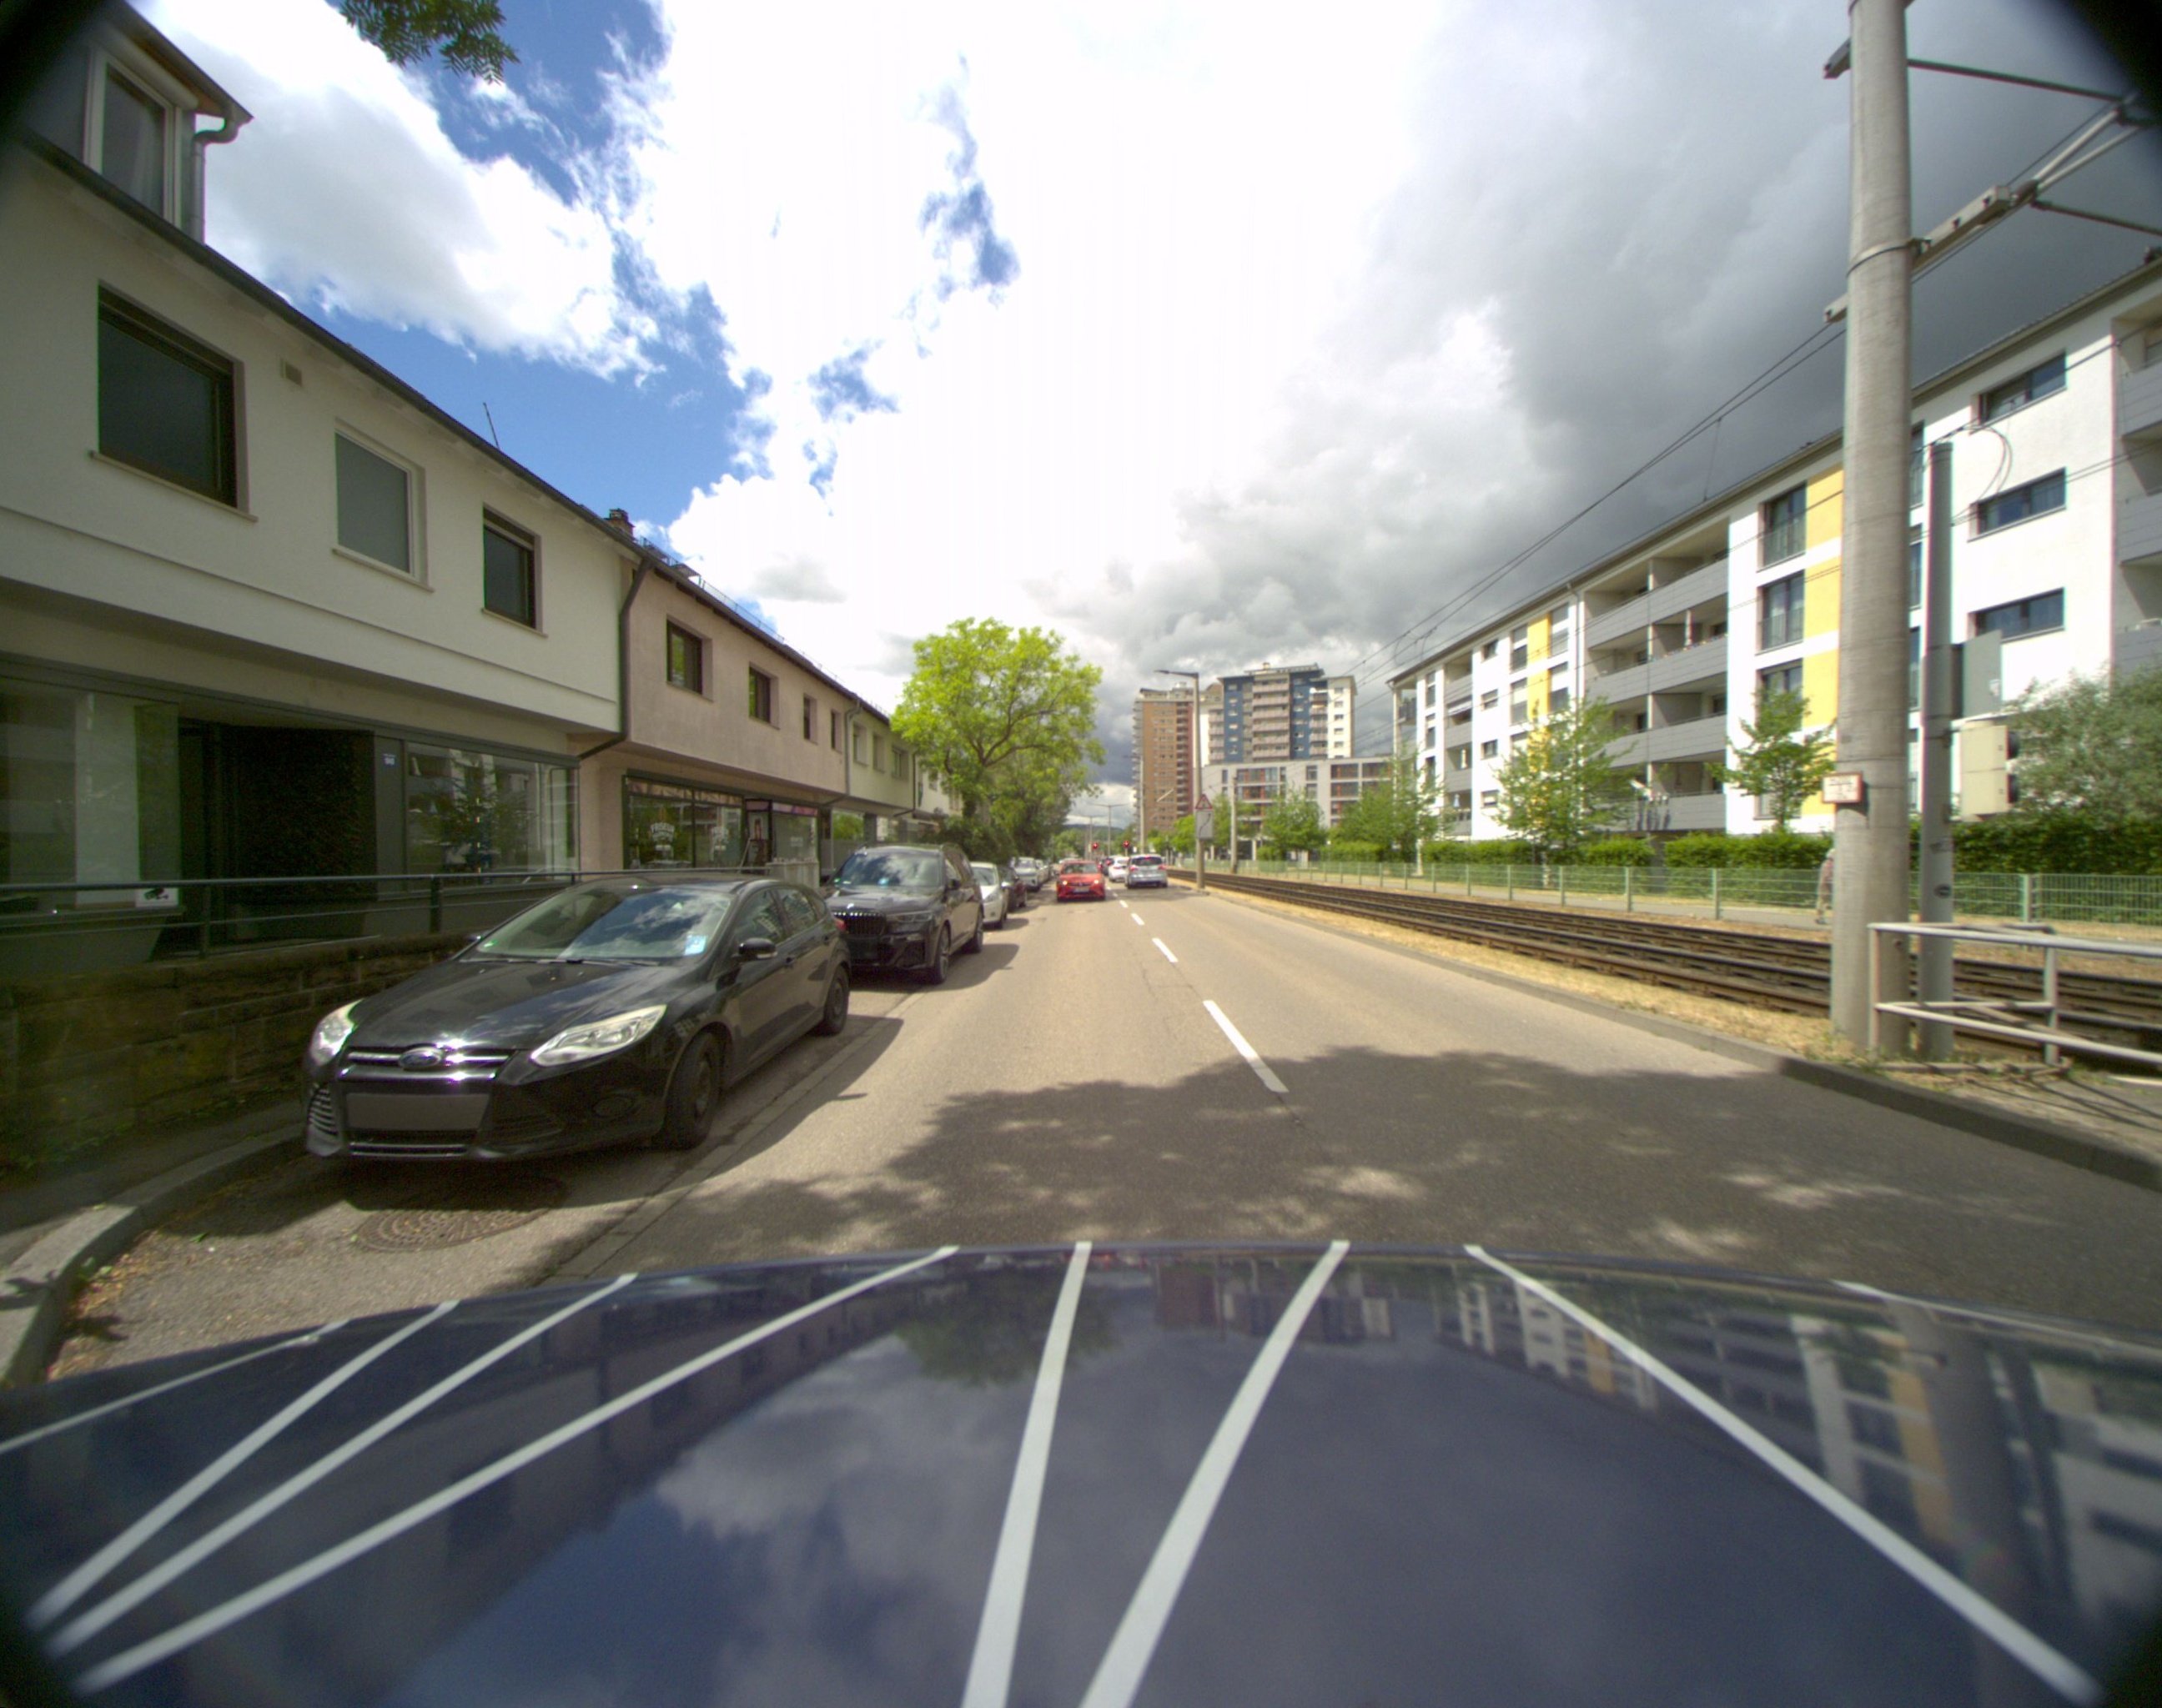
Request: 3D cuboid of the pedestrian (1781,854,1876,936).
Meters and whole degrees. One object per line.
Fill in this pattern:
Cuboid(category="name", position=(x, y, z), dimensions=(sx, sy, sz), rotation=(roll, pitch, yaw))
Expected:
Cuboid(category="pedestrian", position=(13.982, 0.747, 14.243), dimensions=(0.798, 1.474, 0.995), rotation=(-1, 1, -1))

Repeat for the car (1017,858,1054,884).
Cuboid(category="car", position=(-2.767, 0.999, 47.370), dimensions=(1.818, 1.490, 4.911), rotation=(-1, 0, 2))

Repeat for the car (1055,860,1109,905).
Cuboid(category="car", position=(0.063, 0.983, 27.889), dimensions=(1.792, 1.387, 4.241), rotation=(-2, 0, 1))

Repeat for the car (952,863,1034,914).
Cuboid(category="car", position=(-2.598, 0.994, 23.390), dimensions=(1.775, 1.341, 4.001), rotation=(2, 0, 4))

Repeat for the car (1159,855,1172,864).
Cuboid(category="car", position=(15.800, 0.978, 142.378), dimensions=(1.781, 1.530, 3.803), rotation=(-1, 0, -1))

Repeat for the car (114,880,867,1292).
Cuboid(category="car", position=(-2.969, 1.008, 5.185), dimensions=(1.839, 1.497, 4.242), rotation=(0, 0, -1))

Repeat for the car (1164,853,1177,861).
Cuboid(category="car", position=(15.935, 0.536, 135.930), dimensions=(1.781, 1.530, 3.803), rotation=(-1, 0, -1))

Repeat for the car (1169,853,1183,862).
Cuboid(category="car", position=(16.146, 0.620, 129.820), dimensions=(1.893, 1.530, 3.803), rotation=(-1, 0, 0))

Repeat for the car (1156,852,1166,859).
Cuboid(category="car", position=(17.788, 0.346, 169.083), dimensions=(1.781, 1.650, 3.803), rotation=(-1, 0, -1))

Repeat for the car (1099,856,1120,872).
Cuboid(category="car", position=(2.606, 0.886, 70.600), dimensions=(1.815, 1.437, 4.465), rotation=(-1, 0, 0))

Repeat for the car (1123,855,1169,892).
Cuboid(category="car", position=(3.094, 0.897, 36.971), dimensions=(1.822, 1.604, 4.601), rotation=(-2, 0, 0))

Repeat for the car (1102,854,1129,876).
Cuboid(category="car", position=(2.760, 0.865, 62.114), dimensions=(1.862, 1.680, 4.432), rotation=(-1, 0, -2))

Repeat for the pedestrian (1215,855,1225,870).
Cuboid(category="pedestrian", position=(14.490, 0.876, 79.198), dimensions=(0.756, 1.603, 0.938), rotation=(-1, 1, -1))

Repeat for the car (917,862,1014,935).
Cuboid(category="car", position=(-2.604, 0.964, 17.937), dimensions=(1.776, 1.434, 3.898), rotation=(2, 0, -2))

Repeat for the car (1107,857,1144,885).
Cuboid(category="car", position=(2.676, 0.982, 46.301), dimensions=(1.822, 1.494, 4.836), rotation=(-2, 0, -1))

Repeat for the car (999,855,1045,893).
Cuboid(category="car", position=(-2.706, 0.894, 35.865), dimensions=(1.842, 1.634, 4.429), rotation=(-1, 0, -1))

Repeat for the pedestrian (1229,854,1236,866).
Cuboid(category="pedestrian", position=(19.717, 0.793, 99.038), dimensions=(0.749, 1.644, 0.538), rotation=(-1, 1, -1))

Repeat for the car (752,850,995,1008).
Cuboid(category="car", position=(-2.622, 0.832, 11.082), dimensions=(2.020, 1.778, 5.076), rotation=(0, 0, 2))

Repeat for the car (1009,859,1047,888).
Cuboid(category="car", position=(-2.843, 1.007, 41.418), dimensions=(1.729, 1.418, 4.446), rotation=(-1, 0, 0))
